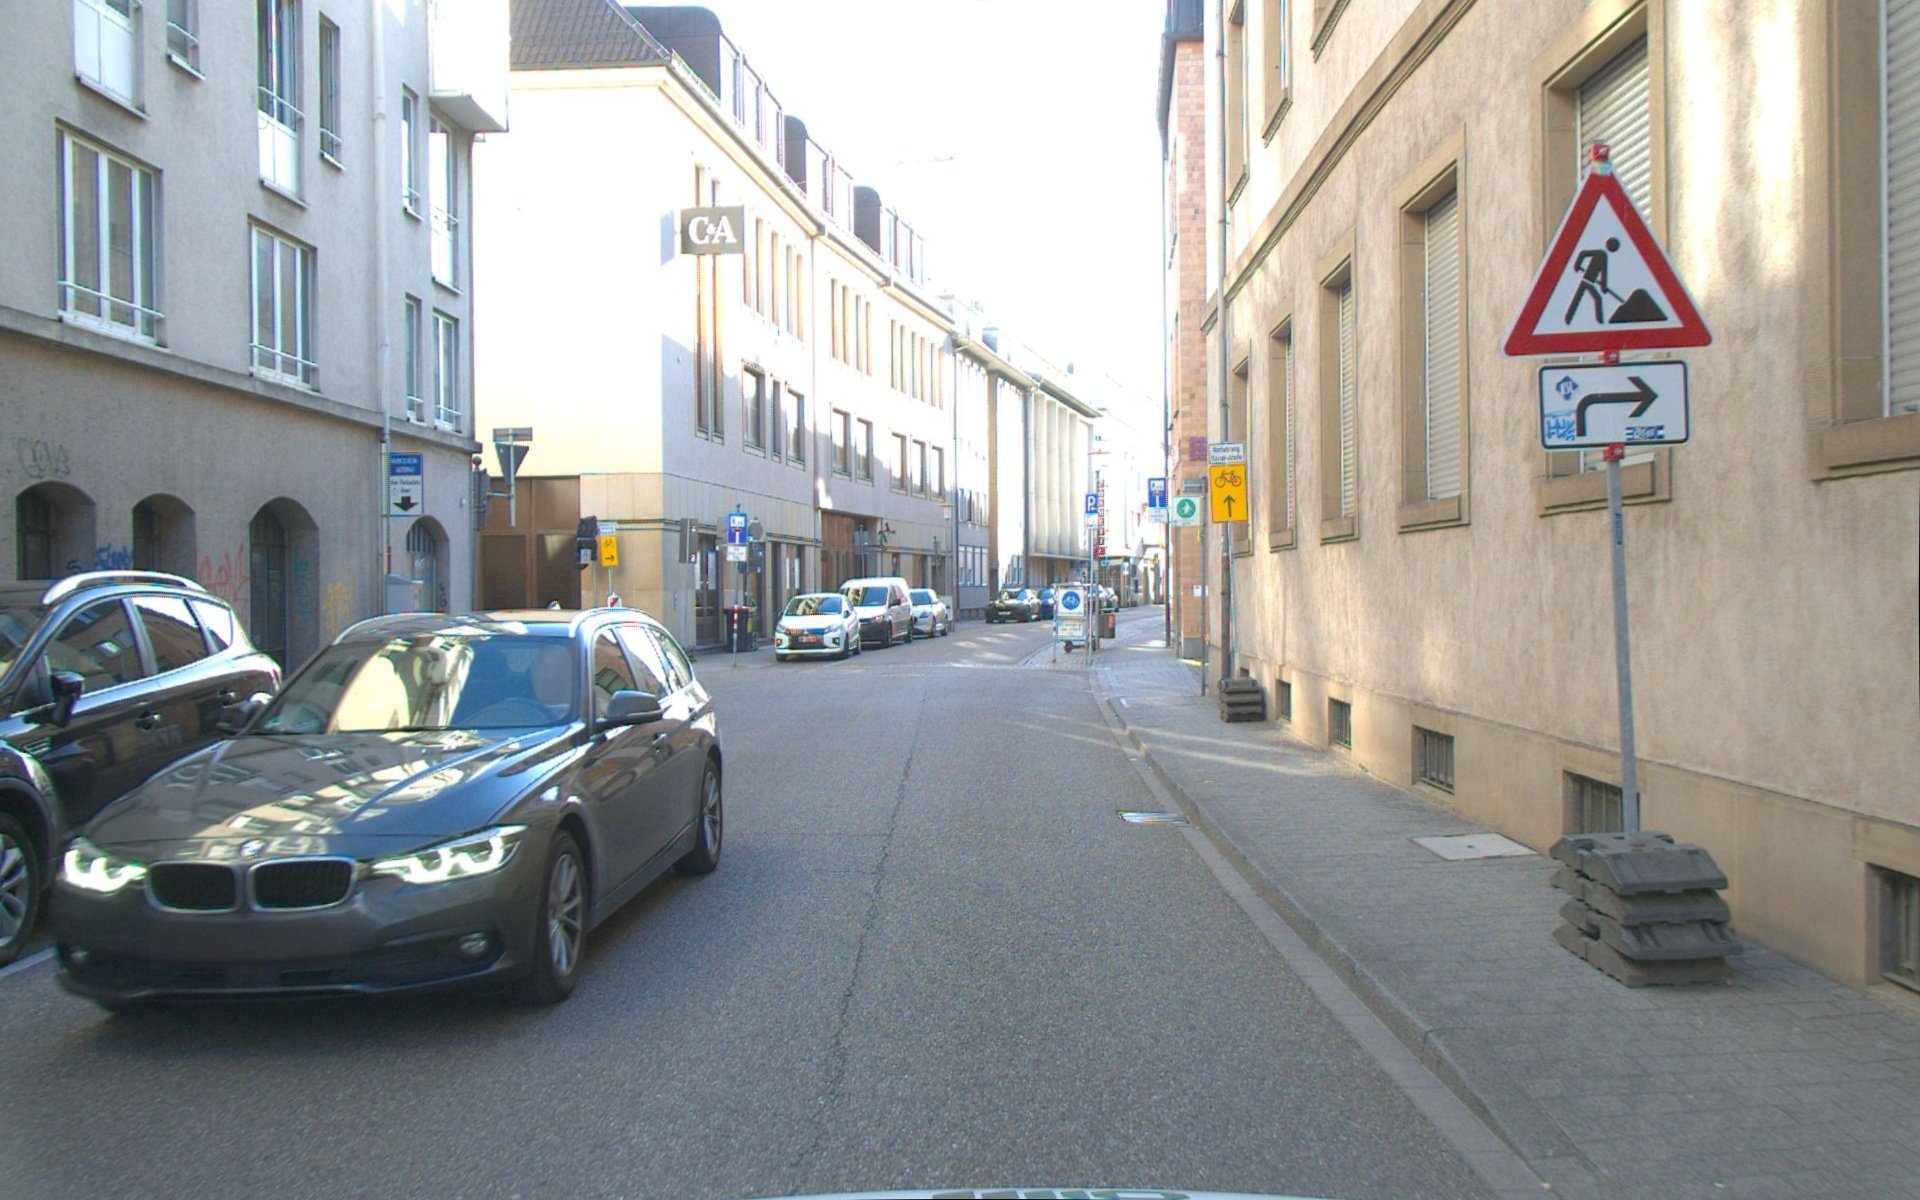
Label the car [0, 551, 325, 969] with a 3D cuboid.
[{"bbox_3d":[-4.858,0.697,8.138,1.704,1.740,4.191,-3,0,1],"label":"car"}]

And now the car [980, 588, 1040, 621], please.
[{"bbox_3d":[2.184,0.172,70.983,1.841,1.355,4.104,-1,0,12],"label":"car"}]

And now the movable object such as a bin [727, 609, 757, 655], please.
[{"bbox_3d":[-5.268,0.770,40.015,0.596,1.079,0.713,2,0,-1],"label":"movable object such as a bin"}]

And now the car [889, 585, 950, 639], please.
[{"bbox_3d":[-1.205,0.345,50.766,1.244,1.533,3.405,-2,0,9],"label":"car"}]

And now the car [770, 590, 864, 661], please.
[{"bbox_3d":[-3.304,0.559,38.785,1.635,1.533,3.795,-2,0,3],"label":"car"}]

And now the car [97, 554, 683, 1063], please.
[{"bbox_3d":[-2.180,0.654,7.455,1.682,1.605,4.183,-1,0,-8],"label":"car"}]

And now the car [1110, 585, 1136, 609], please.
[{"bbox_3d":[10.628,-0.232,107.802,1.310,1.520,3.350,-1,0,12],"label":"car"}]

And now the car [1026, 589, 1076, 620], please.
[{"bbox_3d":[4.284,0.184,77.398,1.687,1.364,4.004,-1,0,12],"label":"car"}]

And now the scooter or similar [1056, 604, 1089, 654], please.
[{"bbox_3d":[2.704,0.695,39.876,0.754,1.156,0.269,2,0,5],"label":"scooter or similar"}]

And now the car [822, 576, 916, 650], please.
[{"bbox_3d":[-2.397,0.315,44.621,1.635,1.850,4.556,-2,0,8],"label":"car"}]
